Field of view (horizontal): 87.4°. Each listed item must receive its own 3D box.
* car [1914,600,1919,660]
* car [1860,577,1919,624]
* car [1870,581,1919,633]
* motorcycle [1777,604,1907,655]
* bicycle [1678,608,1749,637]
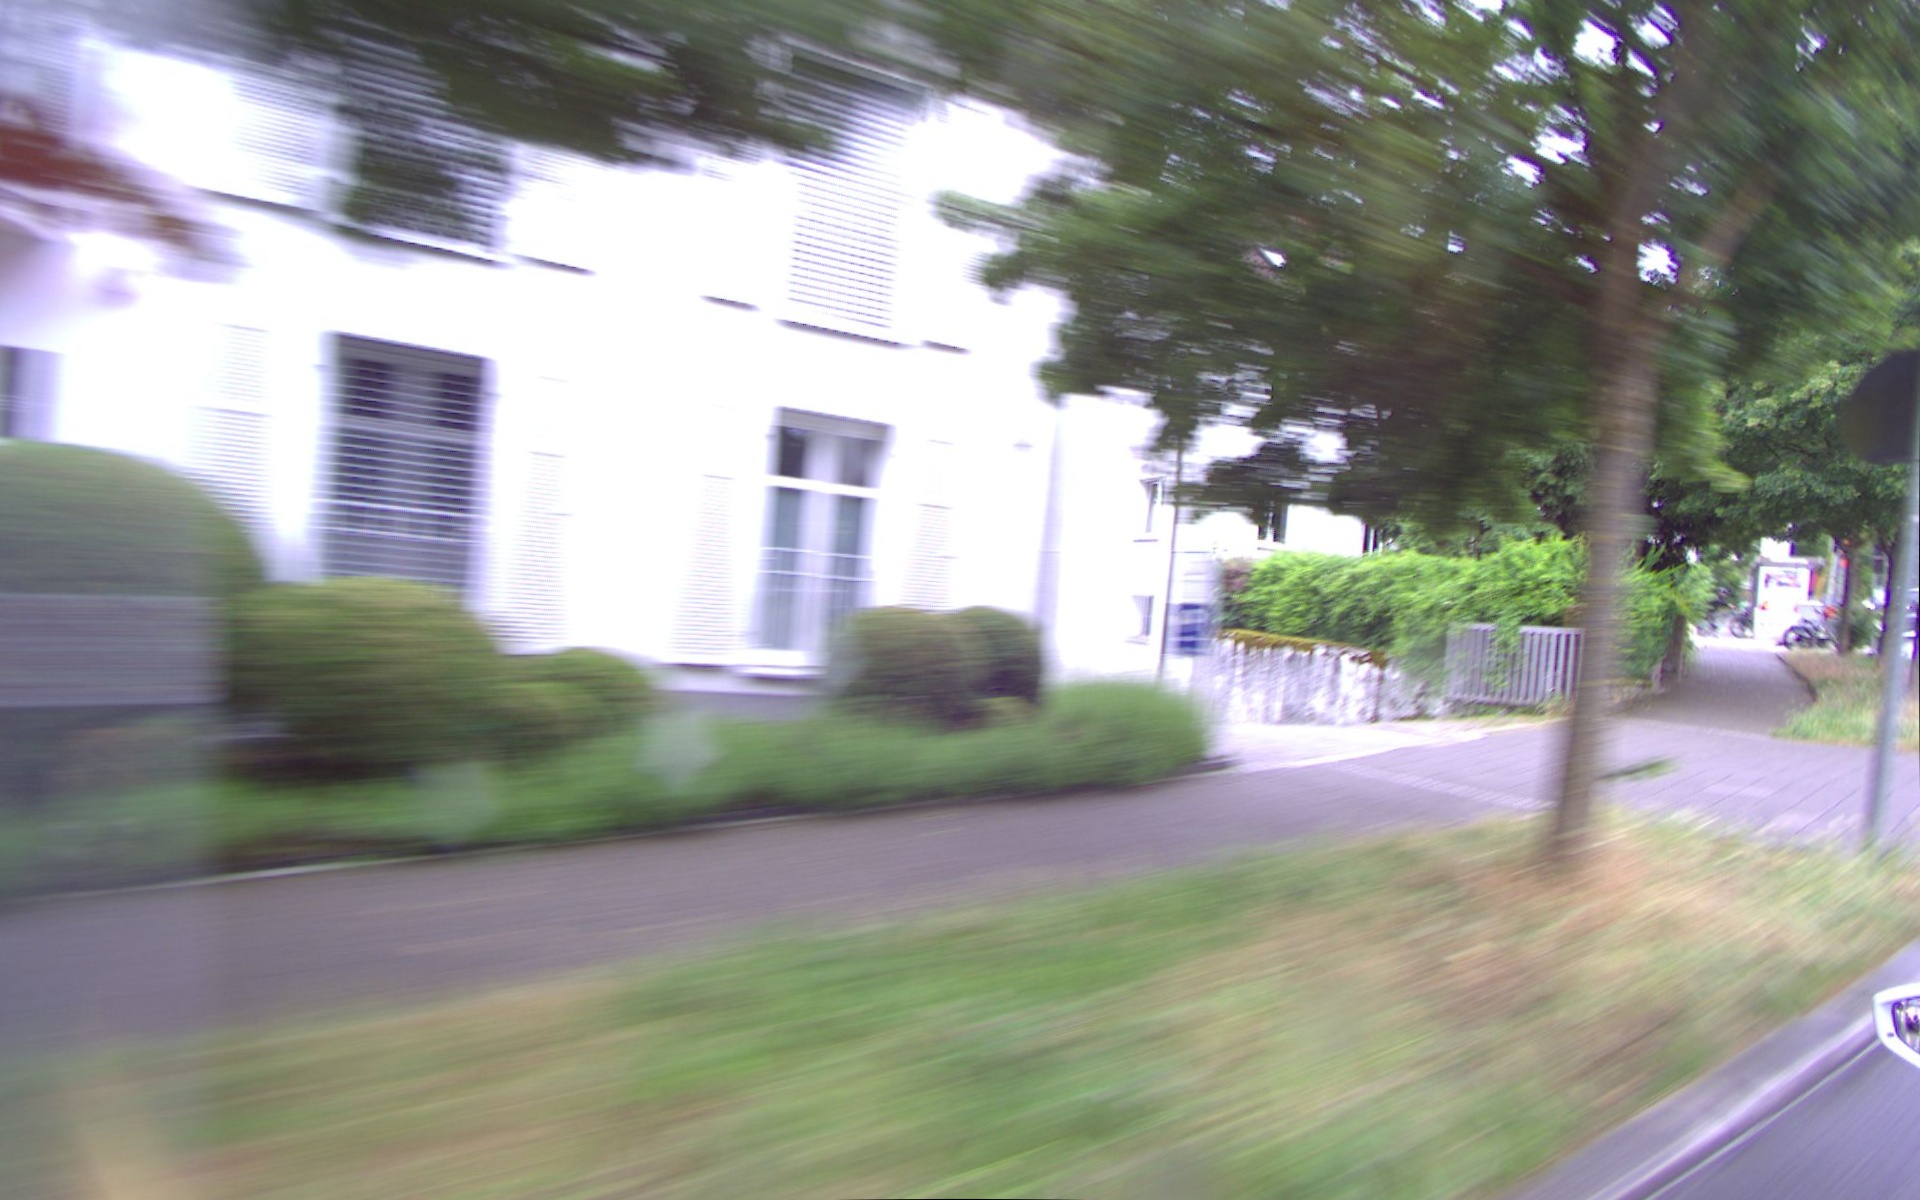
[{"bbox_3d":[26.385,0.789,26.107,1.902,1.639,4.302,0,-1,38],"label":"car"},{"bbox_3d":[43.048,0.068,45.606,1.961,2.040,3.999,0,-1,22],"label":"car"},{"bbox_3d":[36.084,0.305,38.256,1.971,1.817,3.981,-1,-3,41],"label":"car"},{"bbox_3d":[23.851,0.779,27.237,2.566,1.250,0.886,3,1,39],"label":"motorcycle"},{"bbox_3d":[27.973,0.832,37.323,2.119,1.016,0.634,0,-1,37],"label":"bicycle"}]
